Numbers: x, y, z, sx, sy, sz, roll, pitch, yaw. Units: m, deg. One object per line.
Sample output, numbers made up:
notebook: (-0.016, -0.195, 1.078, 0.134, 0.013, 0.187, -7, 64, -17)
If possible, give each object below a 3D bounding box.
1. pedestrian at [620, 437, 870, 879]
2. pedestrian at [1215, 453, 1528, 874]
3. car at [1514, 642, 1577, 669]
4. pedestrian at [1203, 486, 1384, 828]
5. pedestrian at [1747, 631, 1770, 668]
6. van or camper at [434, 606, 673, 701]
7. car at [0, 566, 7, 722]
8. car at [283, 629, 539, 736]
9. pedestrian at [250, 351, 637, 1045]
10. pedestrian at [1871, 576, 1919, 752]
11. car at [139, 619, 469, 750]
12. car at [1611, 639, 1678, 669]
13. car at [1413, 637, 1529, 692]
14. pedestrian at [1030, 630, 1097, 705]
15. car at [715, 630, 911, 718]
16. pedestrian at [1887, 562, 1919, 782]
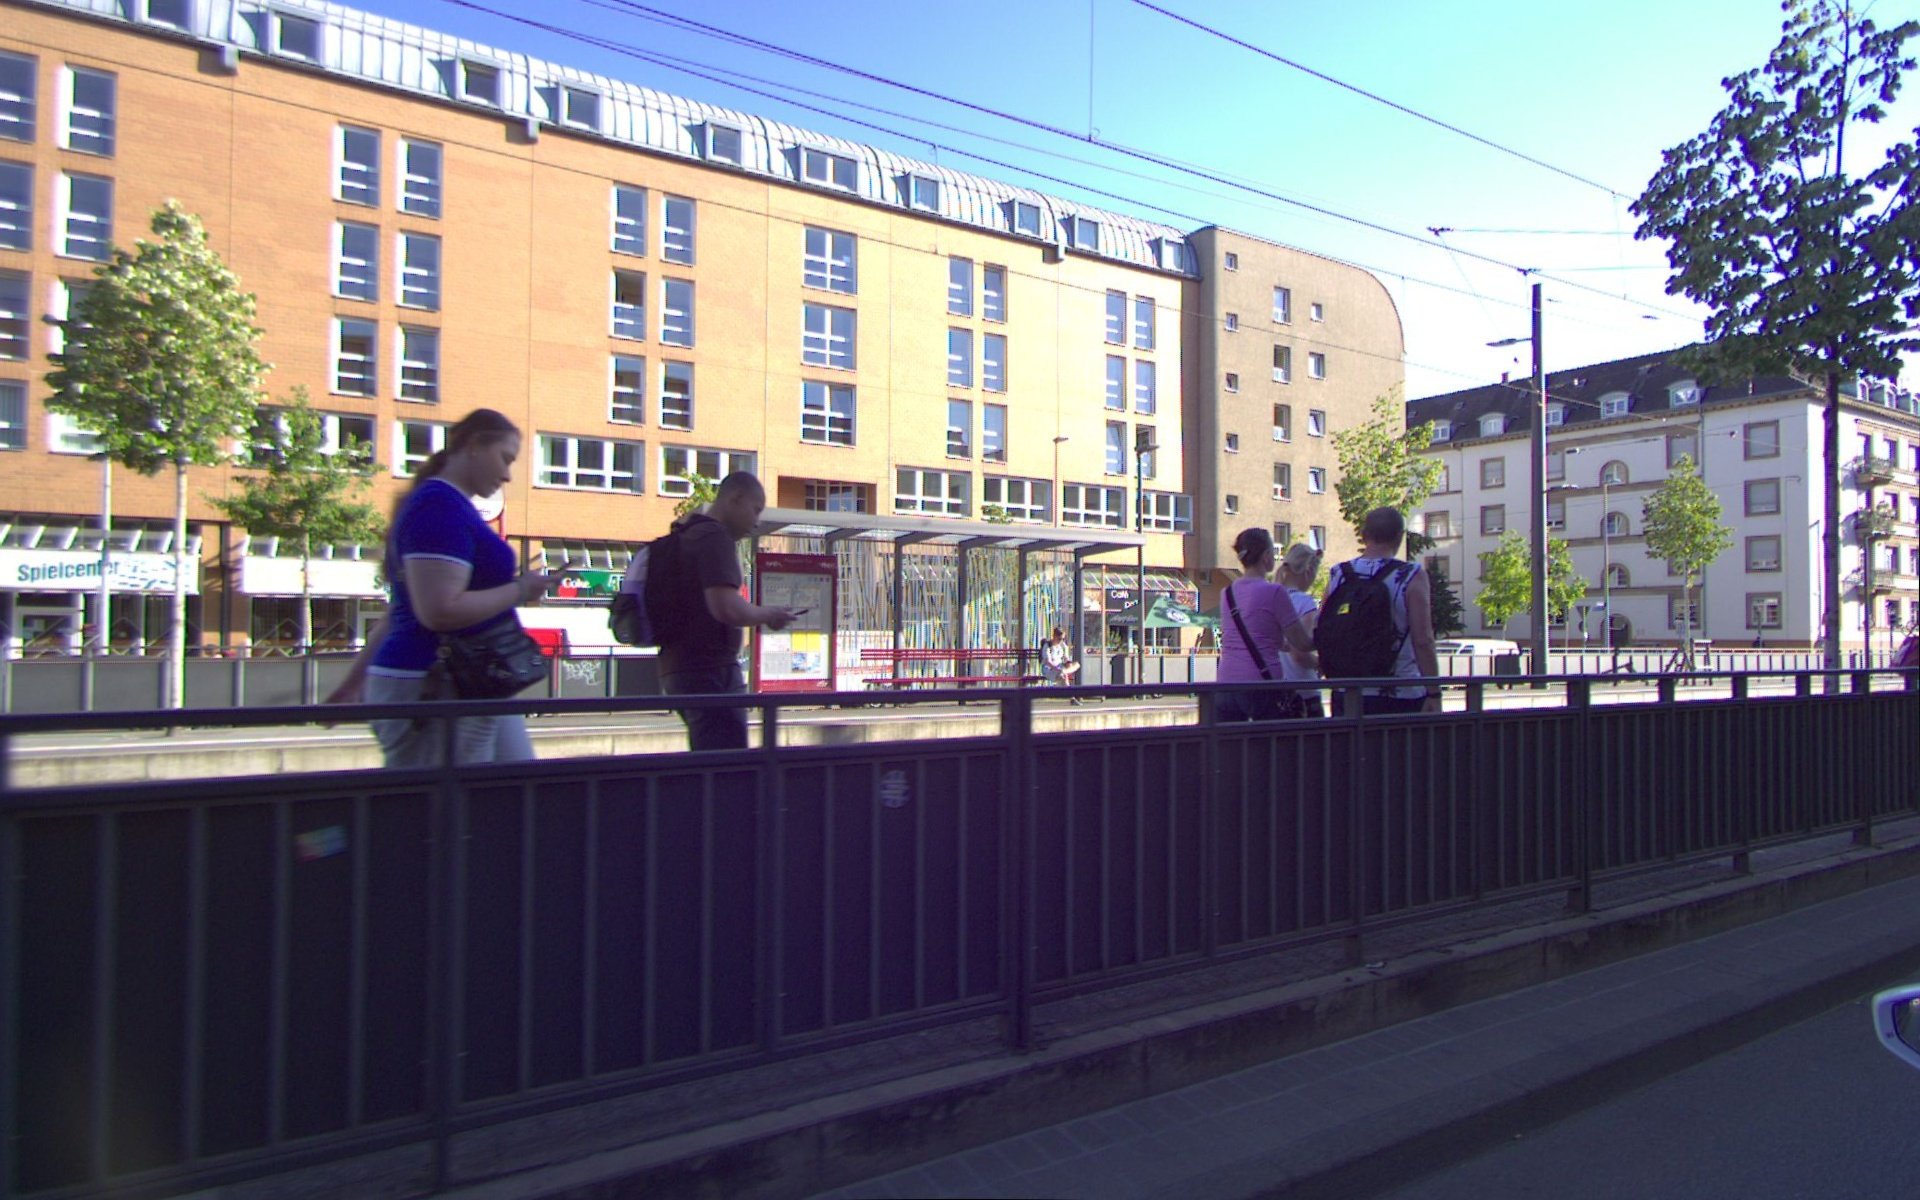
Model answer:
pedestrian: (-0.852, 0.212, 3.902, 0.817, 1.503, 0.681, 1, -2, -24)
pedestrian: (1.776, 0.267, 4.529, 1.074, 1.694, 0.891, 0, -2, 4)
car: (36.035, 3.387, 61.830, 3.959, 1.521, 1.826, 1, -2, -35)
pedestrian: (1.772, 0.295, 5.401, 0.661, 1.694, 0.656, 1, -2, -18)
pedestrian: (44.639, 2.741, 56.164, 0.618, 2.040, 0.797, 0, -2, -29)
van or camper: (-10.509, 1.308, 26.118, 5.544, 2.198, 1.986, -1, -1, -28)
car: (-16.420, 0.596, 13.470, 4.862, 2.389, 2.036, 1, -2, -30)
car: (-10.758, 1.544, 19.917, 4.265, 1.891, 1.877, 0, -2, -30)
pedestrian: (-1.526, 0.250, 2.988, 0.876, 1.694, 0.670, -1, -2, 35)
pedestrian: (9.842, 0.647, 10.184, 0.644, 1.755, 0.716, 1, -2, -29)
car: (-10.431, 1.269, 16.379, 4.264, 1.891, 1.878, 0, -2, -30)
car: (39.472, 3.097, 57.892, 4.089, 1.606, 1.826, 1, -2, -35)
car: (20.427, 2.525, 40.192, 4.088, 2.040, 1.989, 0, -2, -24)
pedestrian: (1.732, 1.117, 16.794, 0.895, 1.205, 0.670, 1, -2, -30)
car: (-3.499, 1.692, 23.982, 4.260, 1.891, 1.879, 0, -2, -27)
pedestrian: (7.386, 0.523, 7.318, 0.895, 1.582, 0.670, 1, -2, -30)
